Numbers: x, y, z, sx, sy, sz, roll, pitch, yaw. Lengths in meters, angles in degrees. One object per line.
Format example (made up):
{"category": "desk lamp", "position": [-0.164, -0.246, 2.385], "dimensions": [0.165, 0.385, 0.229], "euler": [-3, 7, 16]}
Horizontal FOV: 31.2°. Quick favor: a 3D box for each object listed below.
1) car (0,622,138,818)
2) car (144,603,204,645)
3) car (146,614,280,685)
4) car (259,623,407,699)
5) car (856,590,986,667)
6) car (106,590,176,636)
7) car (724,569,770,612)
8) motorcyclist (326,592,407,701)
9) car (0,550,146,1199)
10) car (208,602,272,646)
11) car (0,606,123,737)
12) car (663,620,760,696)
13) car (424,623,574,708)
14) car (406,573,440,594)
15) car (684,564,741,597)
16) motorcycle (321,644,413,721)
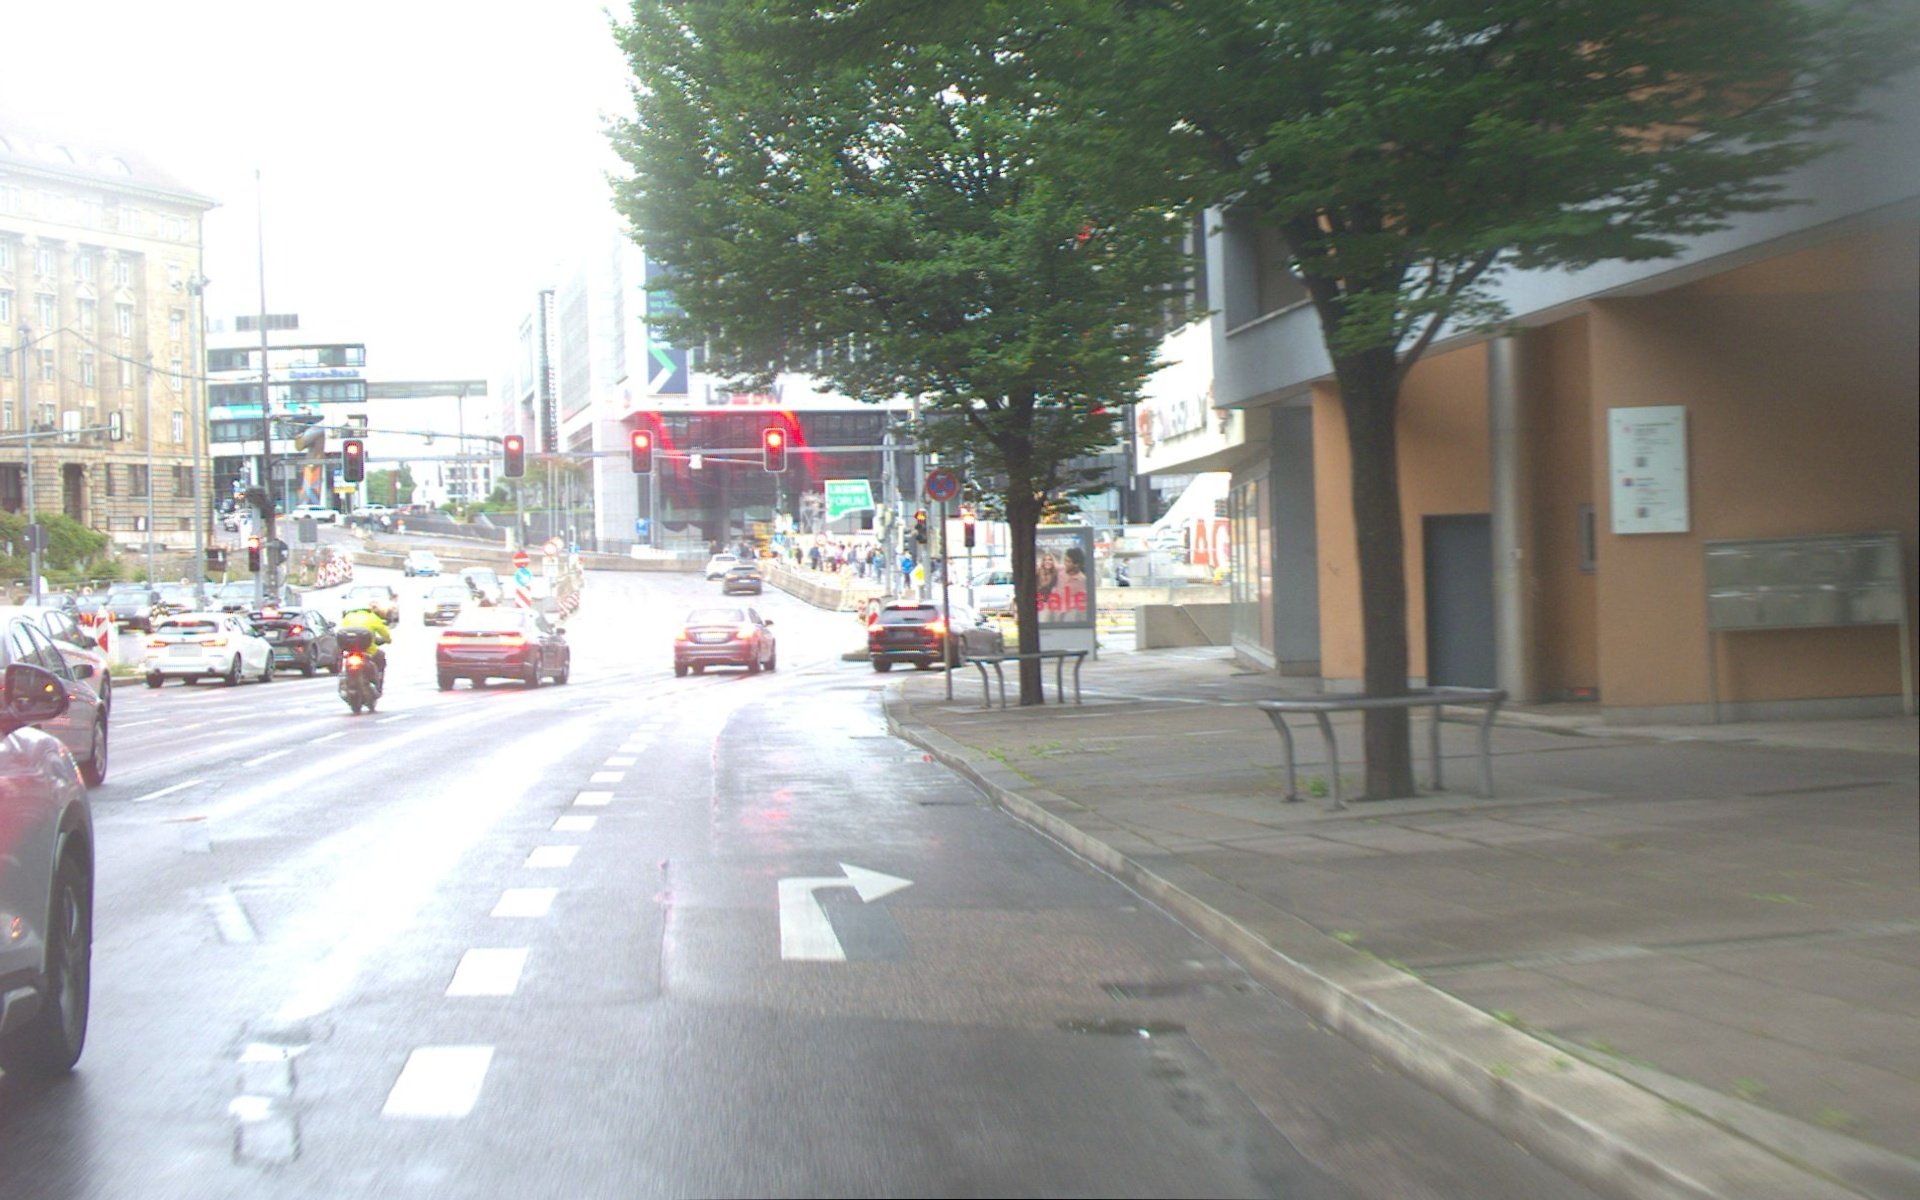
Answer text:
{"category": "car", "position": [-7.773, 0.887, 26.568], "dimensions": [1.733, 1.399, 4.383], "euler": [-1, 0, 1]}
{"category": "car", "position": [-29.722, 0.903, 130.081], "dimensions": [1.697, 1.568, 4.001], "euler": [-1, 0, -5]}
{"category": "car", "position": [-15.039, 0.972, 69.389], "dimensions": [1.783, 1.369, 3.993], "euler": [-1, 0, 1]}
{"category": "car", "position": [-13.831, 1.325, 76.054], "dimensions": [1.784, 1.594, 4.070], "euler": [-1, 0, 12]}
{"category": "car", "position": [-0.784, 0.587, 71.488], "dimensions": [1.892, 1.539, 3.991], "euler": [-1, 0, 12]}
{"category": "car", "position": [-29.038, 0.458, 122.022], "dimensions": [1.697, 1.514, 3.875], "euler": [-3, 0, -4]}
{"category": "car", "position": [-10.233, -0.442, 164.819], "dimensions": [1.993, 2.007, 4.001], "euler": [-1, 0, -7]}
{"category": "motorcyclist", "position": [-8.190, 0.639, 47.471], "dimensions": [0.941, 1.470, 1.100], "euler": [-1, 0, -2]}
{"category": "car", "position": [-3.294, 0.717, 8.811], "dimensions": [1.808, 1.655, 4.171], "euler": [-1, 0, -6]}
{"category": "car", "position": [-26.283, 0.884, 125.582], "dimensions": [1.801, 1.568, 4.075], "euler": [-1, 0, -5]}
{"category": "car", "position": [-12.096, 0.901, 44.676], "dimensions": [1.732, 1.610, 4.000], "euler": [-1, 0, -4]}
{"category": "car", "position": [-5.271, 1.206, 73.285], "dimensions": [1.783, 1.397, 4.487], "euler": [-1, 2, -1]}
{"category": "car", "position": [-8.684, 1.204, 65.152], "dimensions": [1.887, 1.509, 5.002], "euler": [-1, 0, 3]}
{"category": "car", "position": [-34.926, -1.064, 223.688], "dimensions": [1.767, 1.256, 4.194], "euler": [-1, 0, -3]}
{"category": "car", "position": [-13.946, -1.095, 193.736], "dimensions": [1.993, 1.810, 4.001], "euler": [-1, 0, -23]}
{"category": "motorcycle", "position": [-8.182, 1.127, 47.525], "dimensions": [0.942, 0.986, 2.294], "euler": [-1, 0, -2]}
